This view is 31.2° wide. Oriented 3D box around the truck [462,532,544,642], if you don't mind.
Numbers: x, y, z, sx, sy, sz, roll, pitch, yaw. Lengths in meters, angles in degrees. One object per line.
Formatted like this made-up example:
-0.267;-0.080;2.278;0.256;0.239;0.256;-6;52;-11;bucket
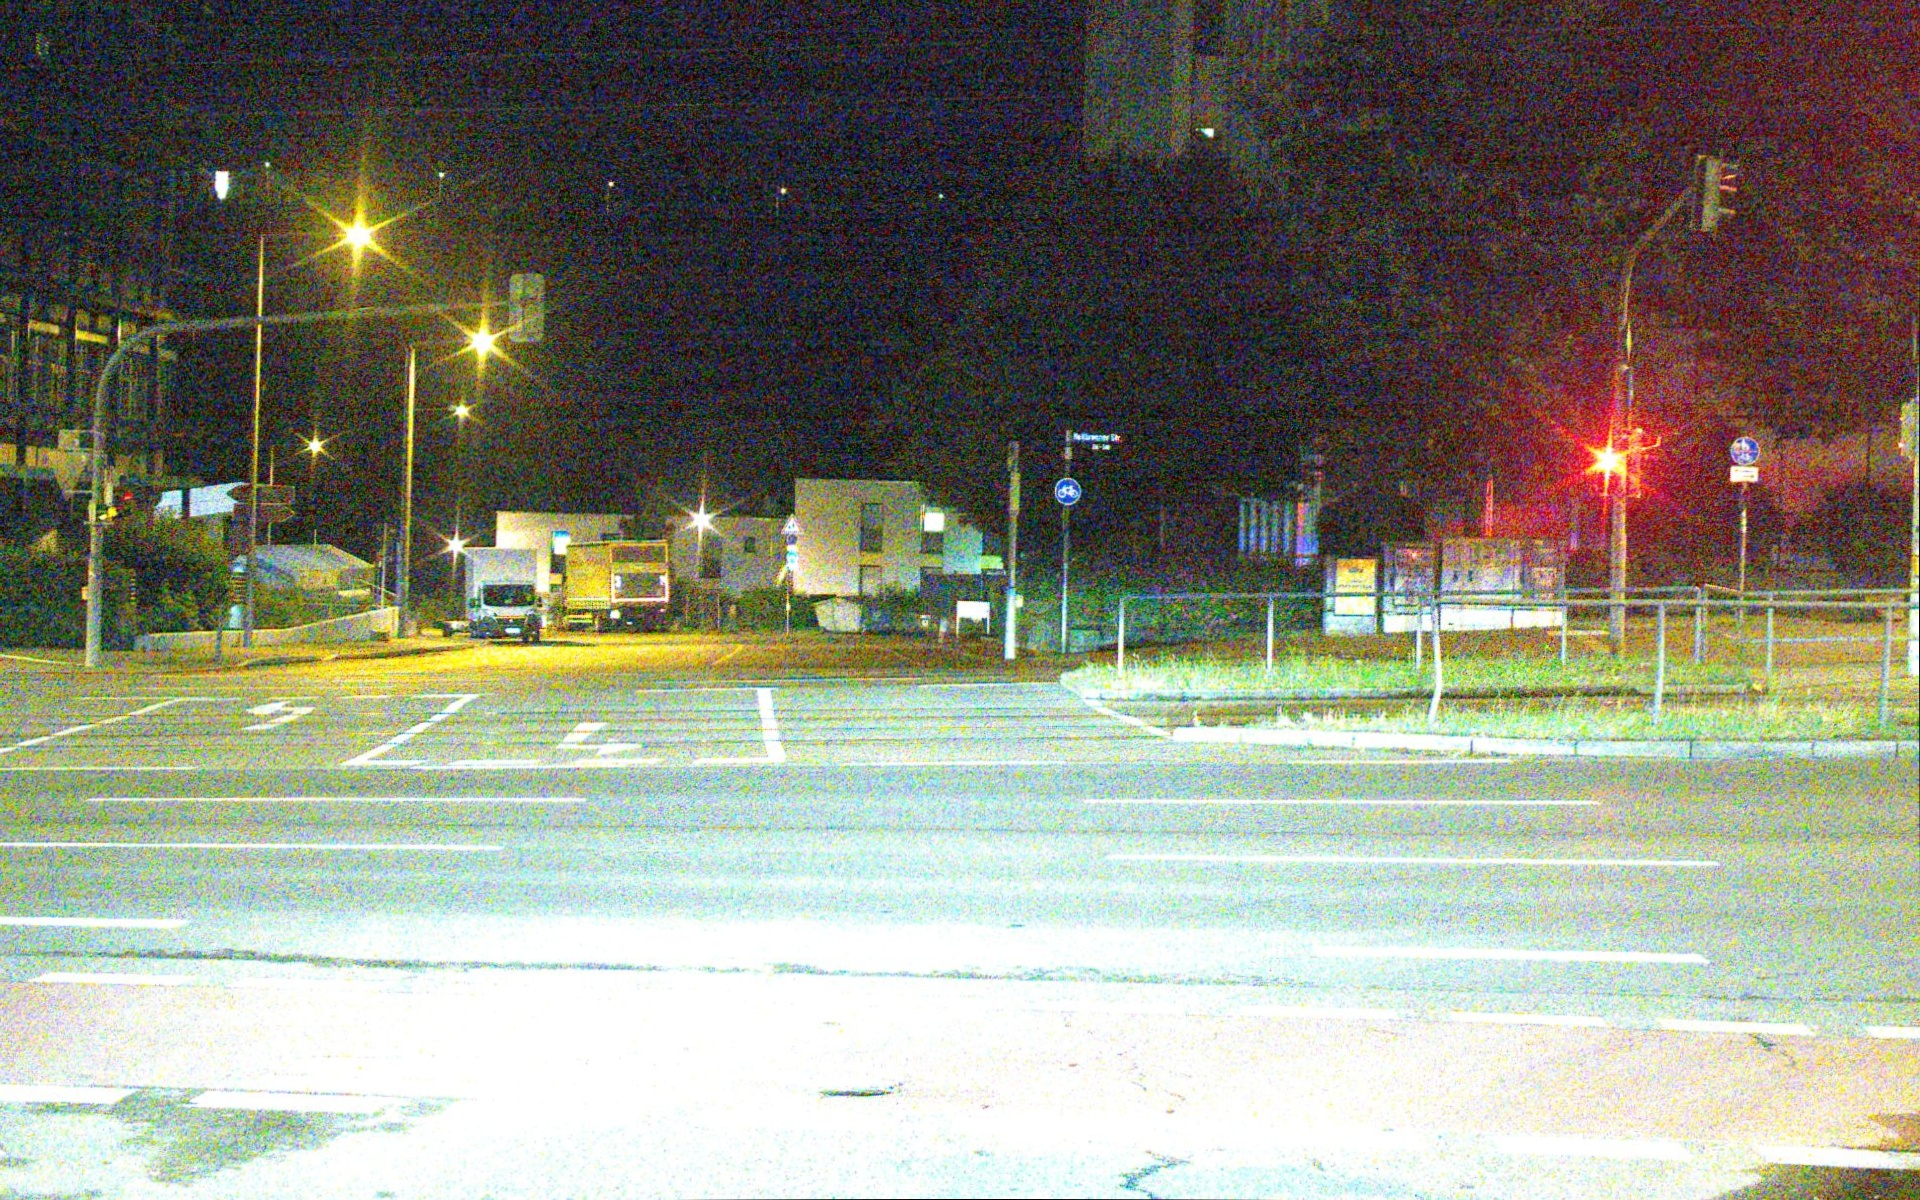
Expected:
-15.895;-0.466;119.289;2.582;3.694;5.739;1;1;-9;truck

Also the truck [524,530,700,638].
-15.448;-0.757;151.230;4.821;4.531;12.669;1;1;-19;truck
